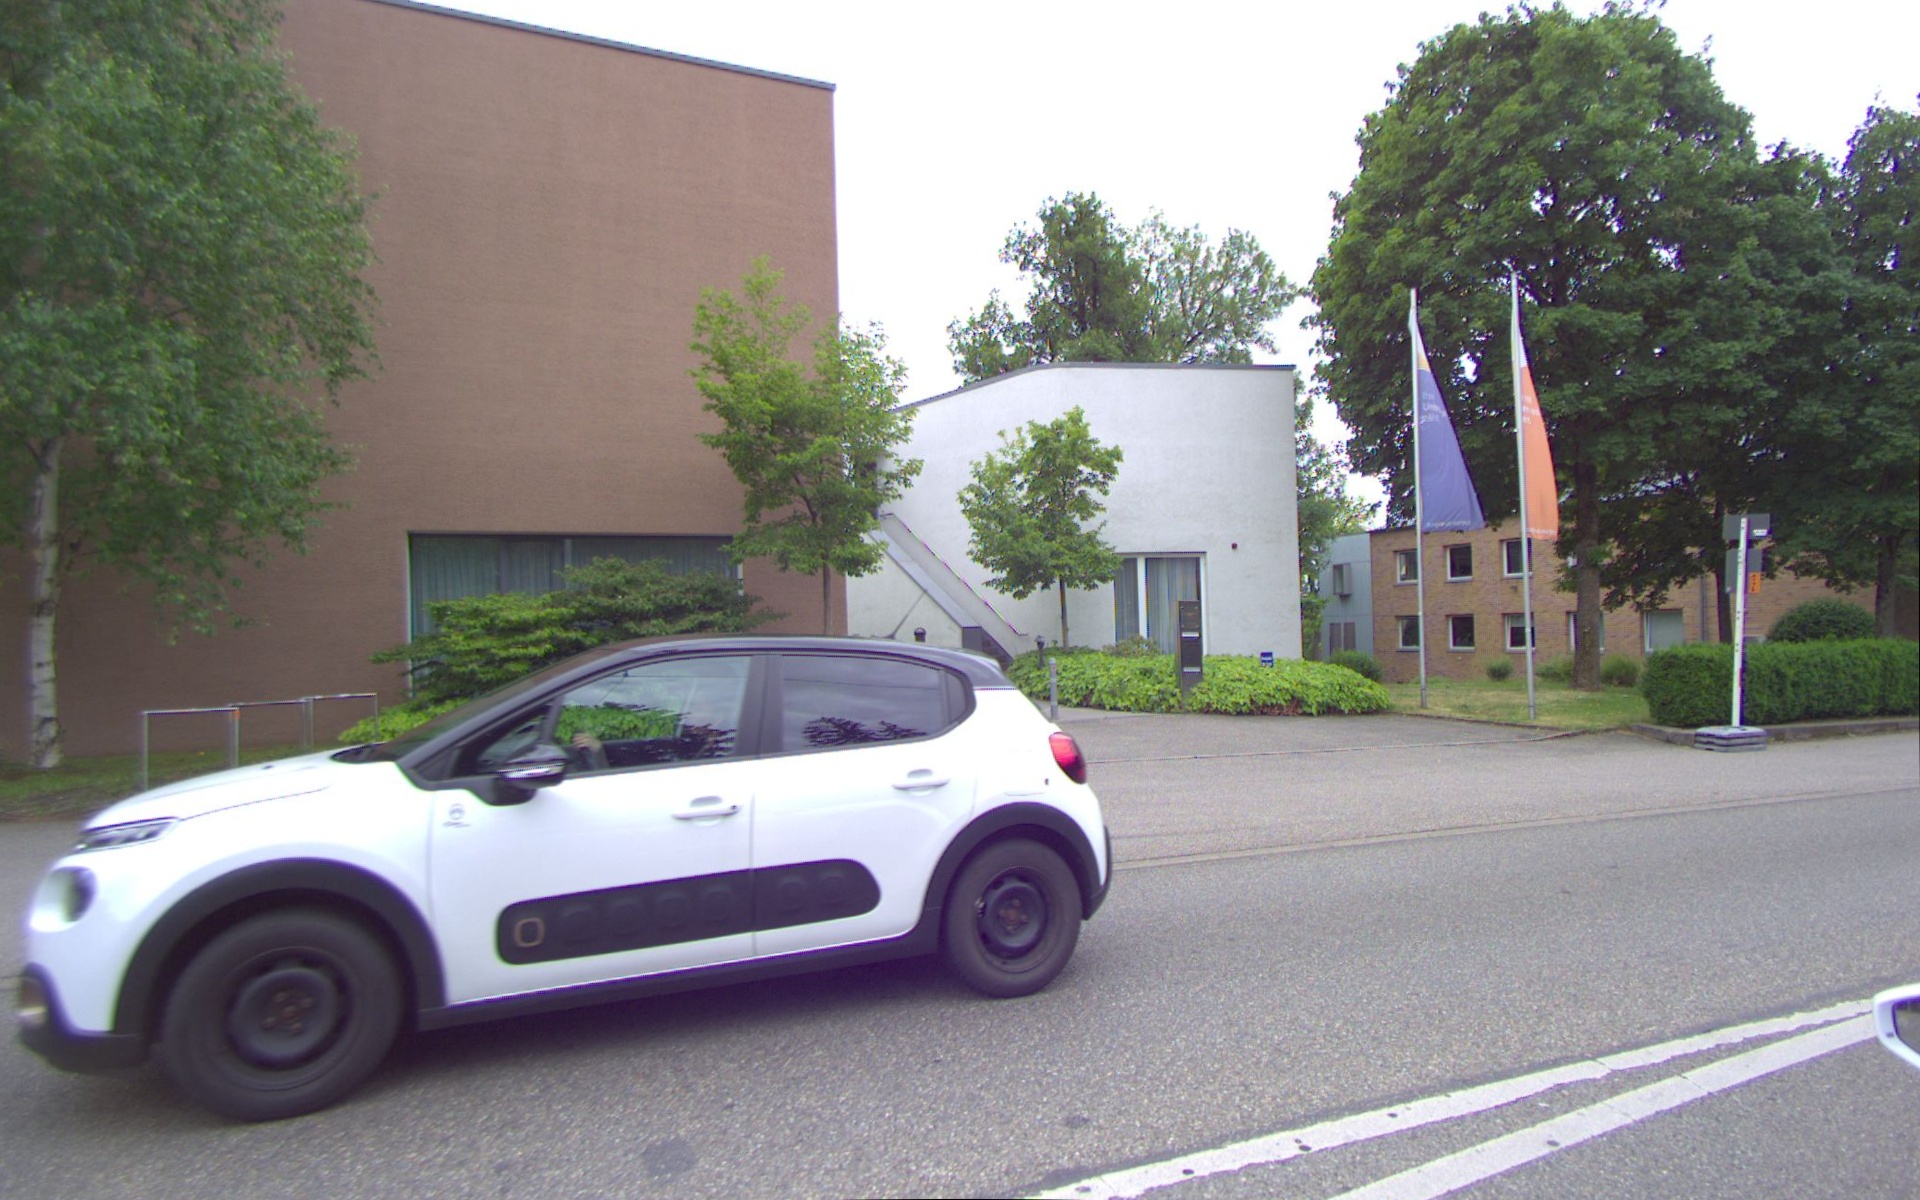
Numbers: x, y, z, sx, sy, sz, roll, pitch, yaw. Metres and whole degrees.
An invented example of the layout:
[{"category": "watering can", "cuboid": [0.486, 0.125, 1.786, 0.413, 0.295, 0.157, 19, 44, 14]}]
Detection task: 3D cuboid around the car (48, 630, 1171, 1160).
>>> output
[{"category": "car", "cuboid": [-1.143, 0.912, 4.333, 3.703, 1.458, 1.692, 1, -5, -23]}]
